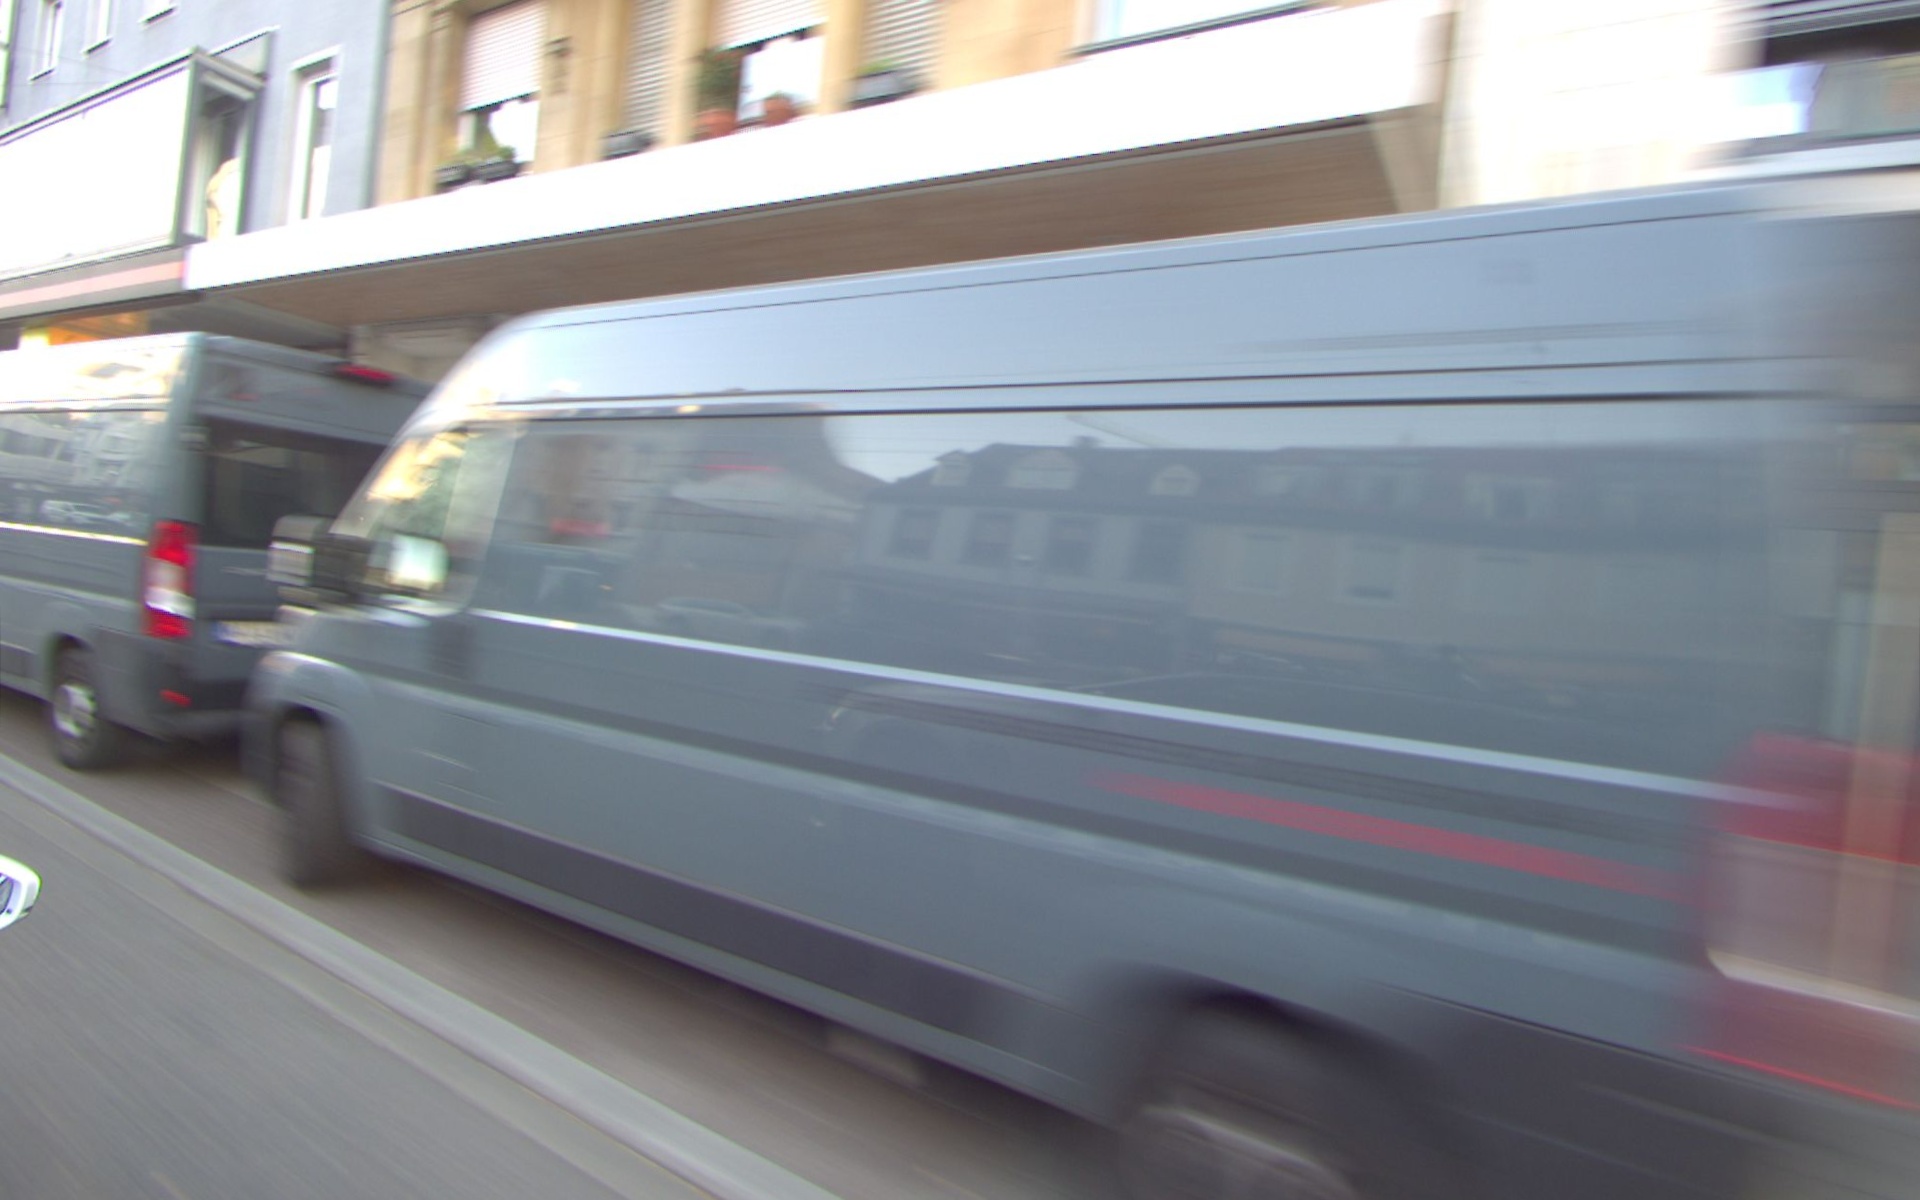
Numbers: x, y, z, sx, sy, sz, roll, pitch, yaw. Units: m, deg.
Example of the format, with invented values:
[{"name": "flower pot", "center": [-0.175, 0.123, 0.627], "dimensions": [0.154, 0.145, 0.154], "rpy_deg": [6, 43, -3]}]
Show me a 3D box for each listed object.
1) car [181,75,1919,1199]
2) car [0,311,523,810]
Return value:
[{"name": "car", "center": [-0.401, 0.205, 3.922], "dimensions": [5.932, 2.487, 2.094], "rpy_deg": [7, 1, 31]}, {"name": "car", "center": [-5.817, -0.411, 7.218], "dimensions": [5.318, 2.487, 2.034], "rpy_deg": [7, 2, 30]}]
